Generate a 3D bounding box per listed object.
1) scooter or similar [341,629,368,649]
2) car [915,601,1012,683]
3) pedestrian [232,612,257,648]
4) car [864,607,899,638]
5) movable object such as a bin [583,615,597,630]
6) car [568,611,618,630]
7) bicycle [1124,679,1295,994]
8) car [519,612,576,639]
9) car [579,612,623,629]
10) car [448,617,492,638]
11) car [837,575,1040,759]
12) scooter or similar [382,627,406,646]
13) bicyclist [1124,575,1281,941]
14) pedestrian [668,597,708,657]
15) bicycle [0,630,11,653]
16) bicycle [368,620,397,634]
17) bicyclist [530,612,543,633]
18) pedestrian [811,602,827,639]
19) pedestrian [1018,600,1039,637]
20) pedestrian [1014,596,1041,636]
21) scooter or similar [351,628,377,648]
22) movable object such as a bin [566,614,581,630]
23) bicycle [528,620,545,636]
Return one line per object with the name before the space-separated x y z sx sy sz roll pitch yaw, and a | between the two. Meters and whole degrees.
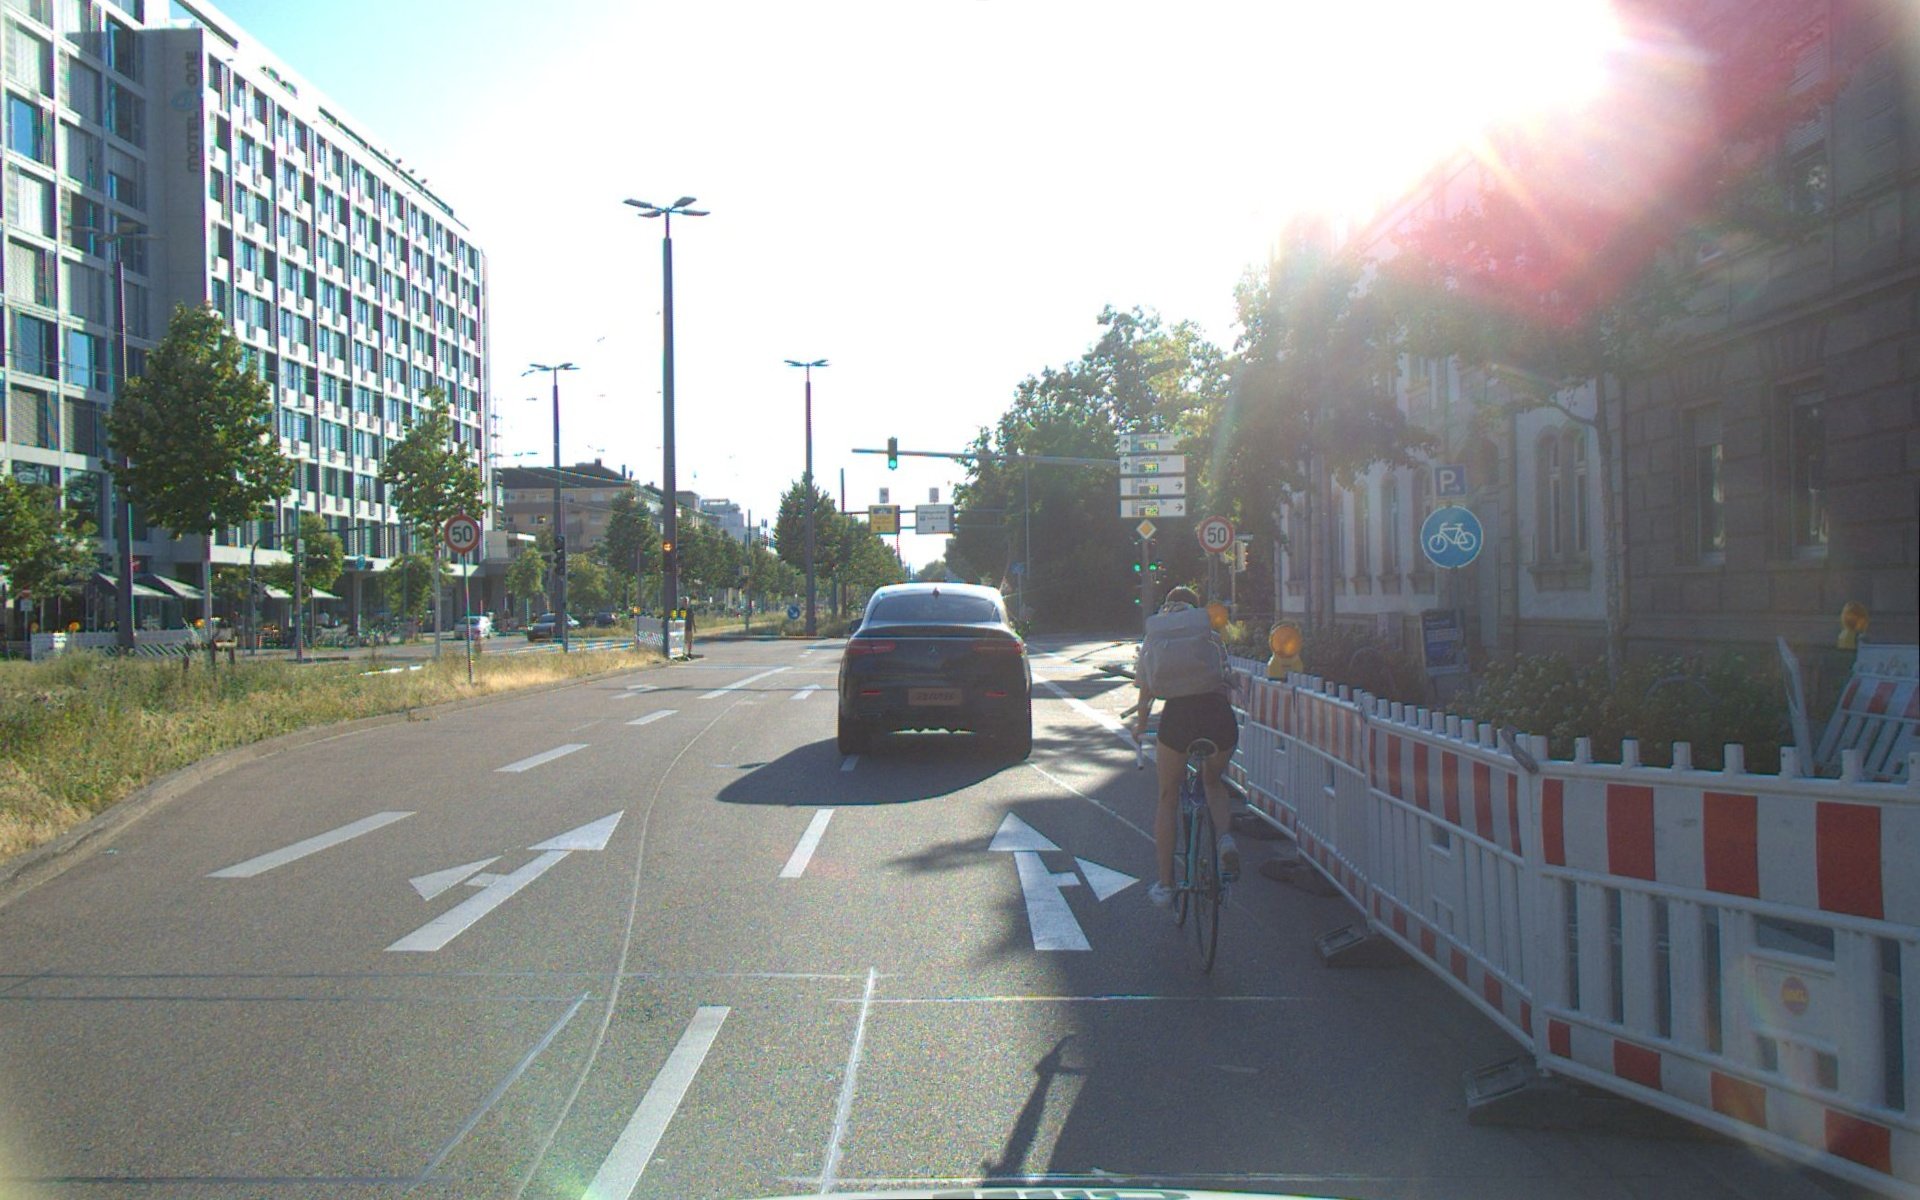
scooter or similar | -32.104 2.063 87.709 1.218 1.037 0.511 -1 0 0
car | 0.027 0.800 33.639 1.858 1.554 4.058 0 0 -1
pedestrian | -35.180 1.491 81.335 0.851 1.751 0.804 -1 0 9
car | -4.348 1.242 92.148 1.847 1.608 3.999 0 0 -1
movable object such as a bin | -32.045 1.930 143.294 0.839 1.303 0.940 -1 0 14
car | -32.954 1.860 148.587 4.060 1.629 1.724 2 0 -42
bicycle | 1.061 0.963 7.342 0.510 1.116 1.843 -1 0 1
car | -21.911 1.321 88.040 1.852 1.367 4.849 -1 0 -1
car | -33.020 1.894 152.090 3.594 1.550 1.596 2 -1 -42
car | -32.285 1.805 109.086 1.721 1.351 4.000 0 0 0
car | -0.174 0.629 17.927 1.952 1.765 4.001 0 0 1
scooter or similar | -32.096 2.063 93.780 1.218 1.037 0.435 -1 0 0
bicyclist | 1.064 0.656 7.429 0.541 1.517 1.081 -1 0 1
pedestrian | -7.745 0.756 47.105 0.904 1.678 0.766 -1 -1 11
bicycle | -40.056 1.725 68.180 0.606 0.952 2.216 -1 0 -1
bicycle | -39.489 1.861 113.076 1.770 0.921 0.511 -1 0 -7
bicyclist | -29.871 1.606 116.670 0.612 1.490 0.851 -1 0 0
pedestrian | -6.623 0.943 77.682 0.586 1.729 0.714 -1 0 5
pedestrian | 3.186 0.832 76.500 0.752 1.665 0.768 -3 0 -10
pedestrian | 3.157 0.740 77.418 0.850 1.833 0.896 -3 0 -35
scooter or similar | -32.140 2.048 89.235 1.218 1.037 0.435 -1 0 0
movable object such as a bin | -33.402 1.918 142.954 0.839 1.381 0.940 -1 0 14
bicycle | -29.873 1.961 116.649 0.612 1.085 2.078 -1 0 0
